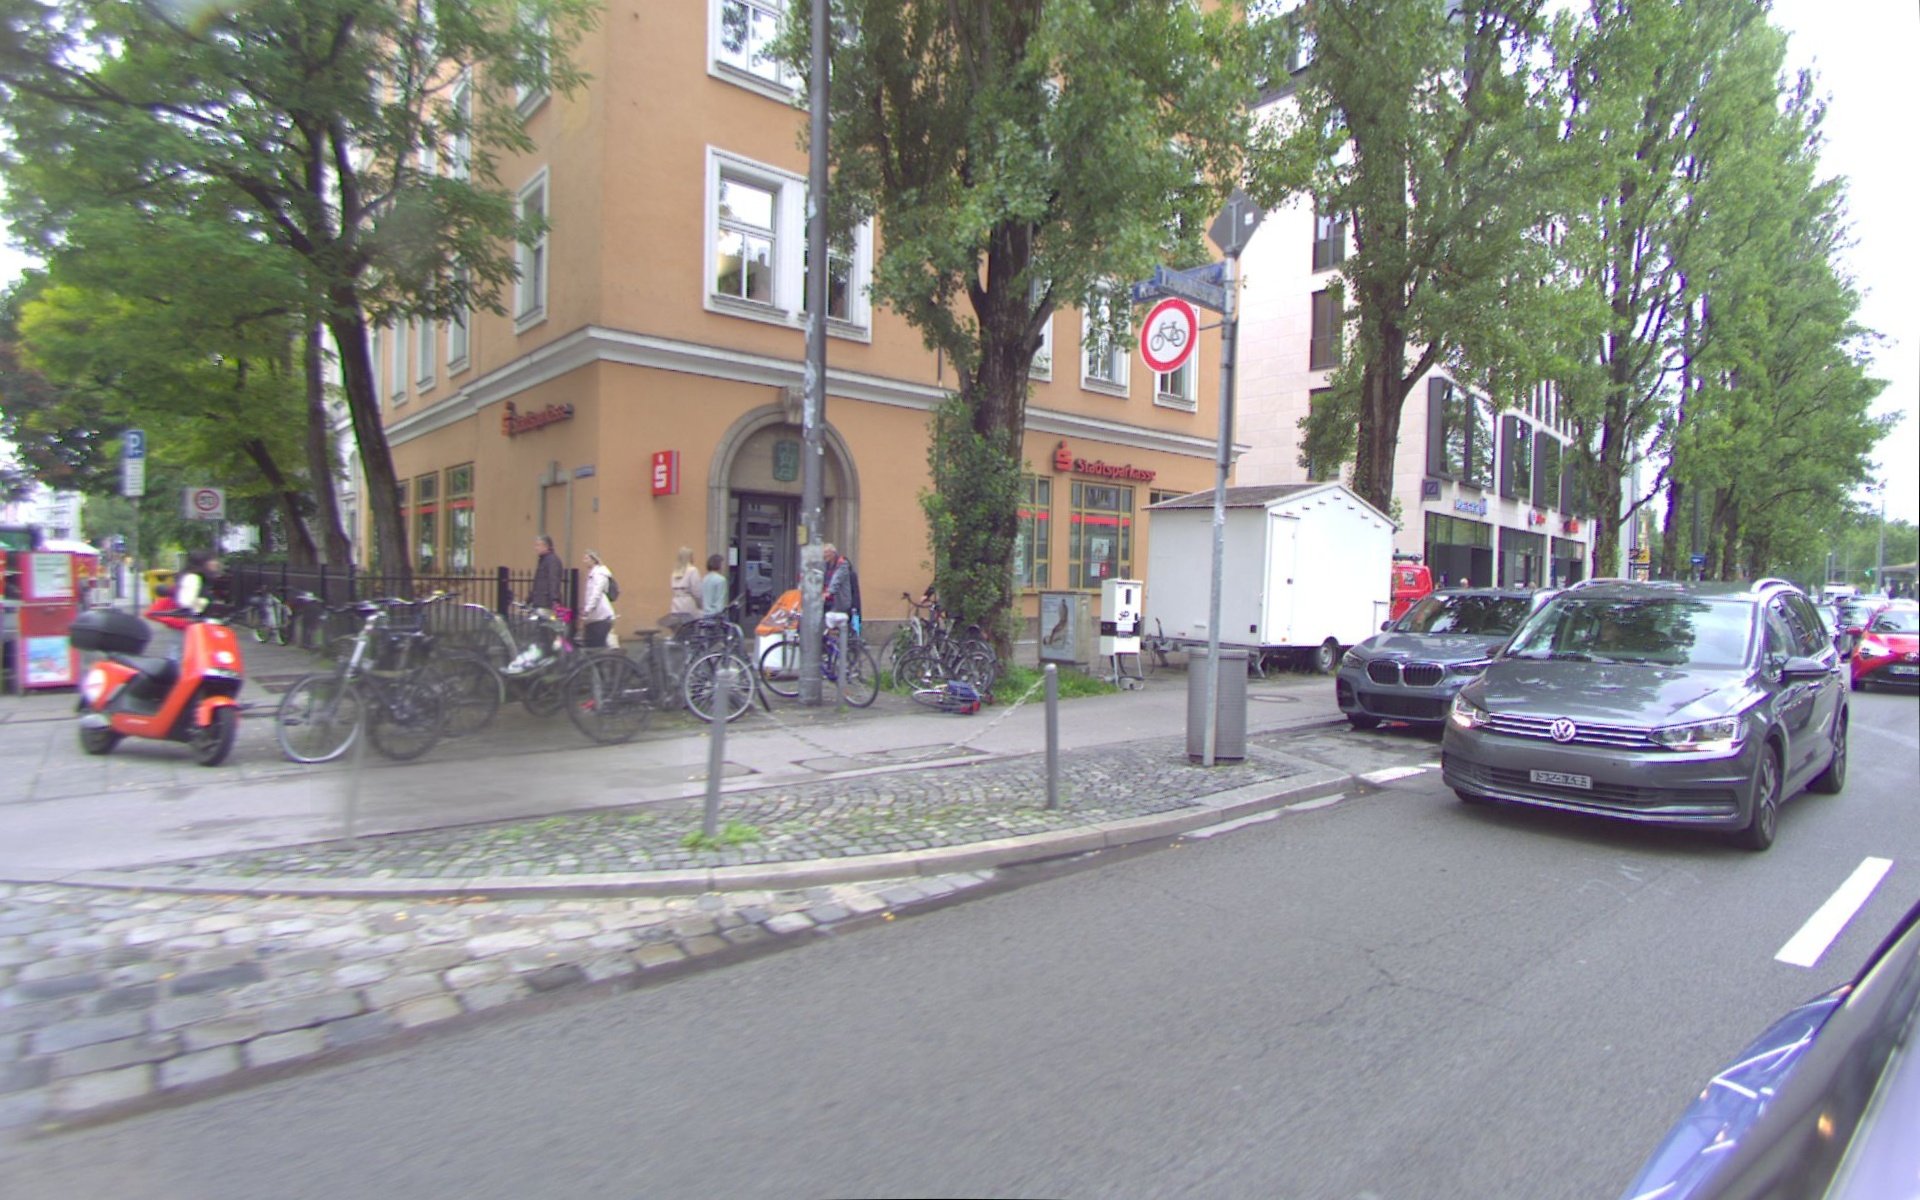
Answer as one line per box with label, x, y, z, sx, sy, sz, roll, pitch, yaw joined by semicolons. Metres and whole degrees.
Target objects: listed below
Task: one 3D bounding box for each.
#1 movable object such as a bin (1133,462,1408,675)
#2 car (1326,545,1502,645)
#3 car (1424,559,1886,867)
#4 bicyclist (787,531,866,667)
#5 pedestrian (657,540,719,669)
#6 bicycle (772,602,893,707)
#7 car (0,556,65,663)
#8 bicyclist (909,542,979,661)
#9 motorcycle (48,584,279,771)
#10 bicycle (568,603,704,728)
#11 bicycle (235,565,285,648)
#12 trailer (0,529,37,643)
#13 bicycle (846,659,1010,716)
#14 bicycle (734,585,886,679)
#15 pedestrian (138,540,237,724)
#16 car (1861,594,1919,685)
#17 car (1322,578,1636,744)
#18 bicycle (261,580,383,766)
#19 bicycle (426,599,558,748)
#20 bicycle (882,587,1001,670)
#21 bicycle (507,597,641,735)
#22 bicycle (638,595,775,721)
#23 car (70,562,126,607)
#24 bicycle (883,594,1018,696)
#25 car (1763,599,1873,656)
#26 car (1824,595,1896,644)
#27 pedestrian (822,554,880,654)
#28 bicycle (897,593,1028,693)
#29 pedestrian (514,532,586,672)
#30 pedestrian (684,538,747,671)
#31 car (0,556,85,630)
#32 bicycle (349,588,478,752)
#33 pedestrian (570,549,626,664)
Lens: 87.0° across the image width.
movable object such as a bin;5.430;-0.528;17.463;4.464;3.175;2.445;0;3;-41
car;10.543;-0.109;23.450;3.919;2.149;1.687;1;1;-30
car;5.228;0.581;7.388;4.120;1.611;1.880;0;0;-42
bicyclist;-1.810;-0.021;13.742;0.825;1.779;0.660;1;1;32
pedestrian;-3.744;0.055;13.931;0.632;1.715;0.566;0;0;41
bicycle;-1.400;0.554;10.942;1.597;1.022;0.337;2;1;43
car;-15.324;0.128;15.912;1.874;1.539;3.992;0;0;-42
bicyclist;-0.242;0.011;15.136;0.736;1.708;0.740;1;1;34
motorcycle;-5.928;0.517;7.507;1.939;1.236;0.510;2;1;24
bicycle;-3.143;0.574;9.700;0.551;1.022;1.945;0;1;-40
bicycle;-12.477;0.097;18.018;0.551;1.389;1.945;1;0;-40
trailer;-19.507;-0.294;19.928;1.873;2.054;5.246;1;0;-42
bicycle;-0.367;0.922;10.955;1.671;0.378;0.818;4;3;42
bicycle;-1.964;0.381;13.539;0.880;1.134;2.078;2;1;32
pedestrian;-7.042;0.269;9.222;0.744;1.590;0.605;0;0;43
car;16.948;0.635;17.516;3.934;1.451;1.614;0;0;-42
car;6.121;0.563;11.695;4.421;1.572;1.787;0;0;-42
bicycle;-4.998;0.486;7.879;0.551;1.255;1.945;0;1;-40
bicycle;-4.094;0.572;8.775;0.551;1.102;1.945;0;1;-40
bicycle;-0.236;0.386;15.157;0.732;1.134;2.077;2;1;33
bicycle;-3.591;0.544;9.311;0.551;1.089;1.945;0;1;-40
bicycle;-2.590;0.527;10.186;0.551;1.098;1.945;0;1;-40
car;-40.797;-0.736;47.920;1.965;2.039;3.993;0;0;-41
bicycle;-0.124;0.497;11.806;1.587;1.098;0.339;2;1;28
car;22.539;0.667;26.534;3.934;1.378;1.698;0;0;-42
car;30.298;0.600;34.035;1.695;1.535;3.938;0;0;43
pedestrian;-1.796;0.056;16.660;0.651;1.590;0.745;0;0;-38
bicycle;0.014;0.492;12.143;1.593;1.098;0.319;2;1;28
pedestrian;-5.434;0.024;13.396;0.719;1.788;0.699;0;0;-38
pedestrian;-3.258;0.056;13.477;0.617;1.715;0.566;0;0;41
car;-23.137;-0.165;25.066;1.967;1.705;3.989;0;0;-44
bicycle;-4.505;0.501;8.274;0.551;1.151;1.945;0;1;-40
pedestrian;-5.148;0.087;14.383;0.564;1.590;0.699;0;0;-38
